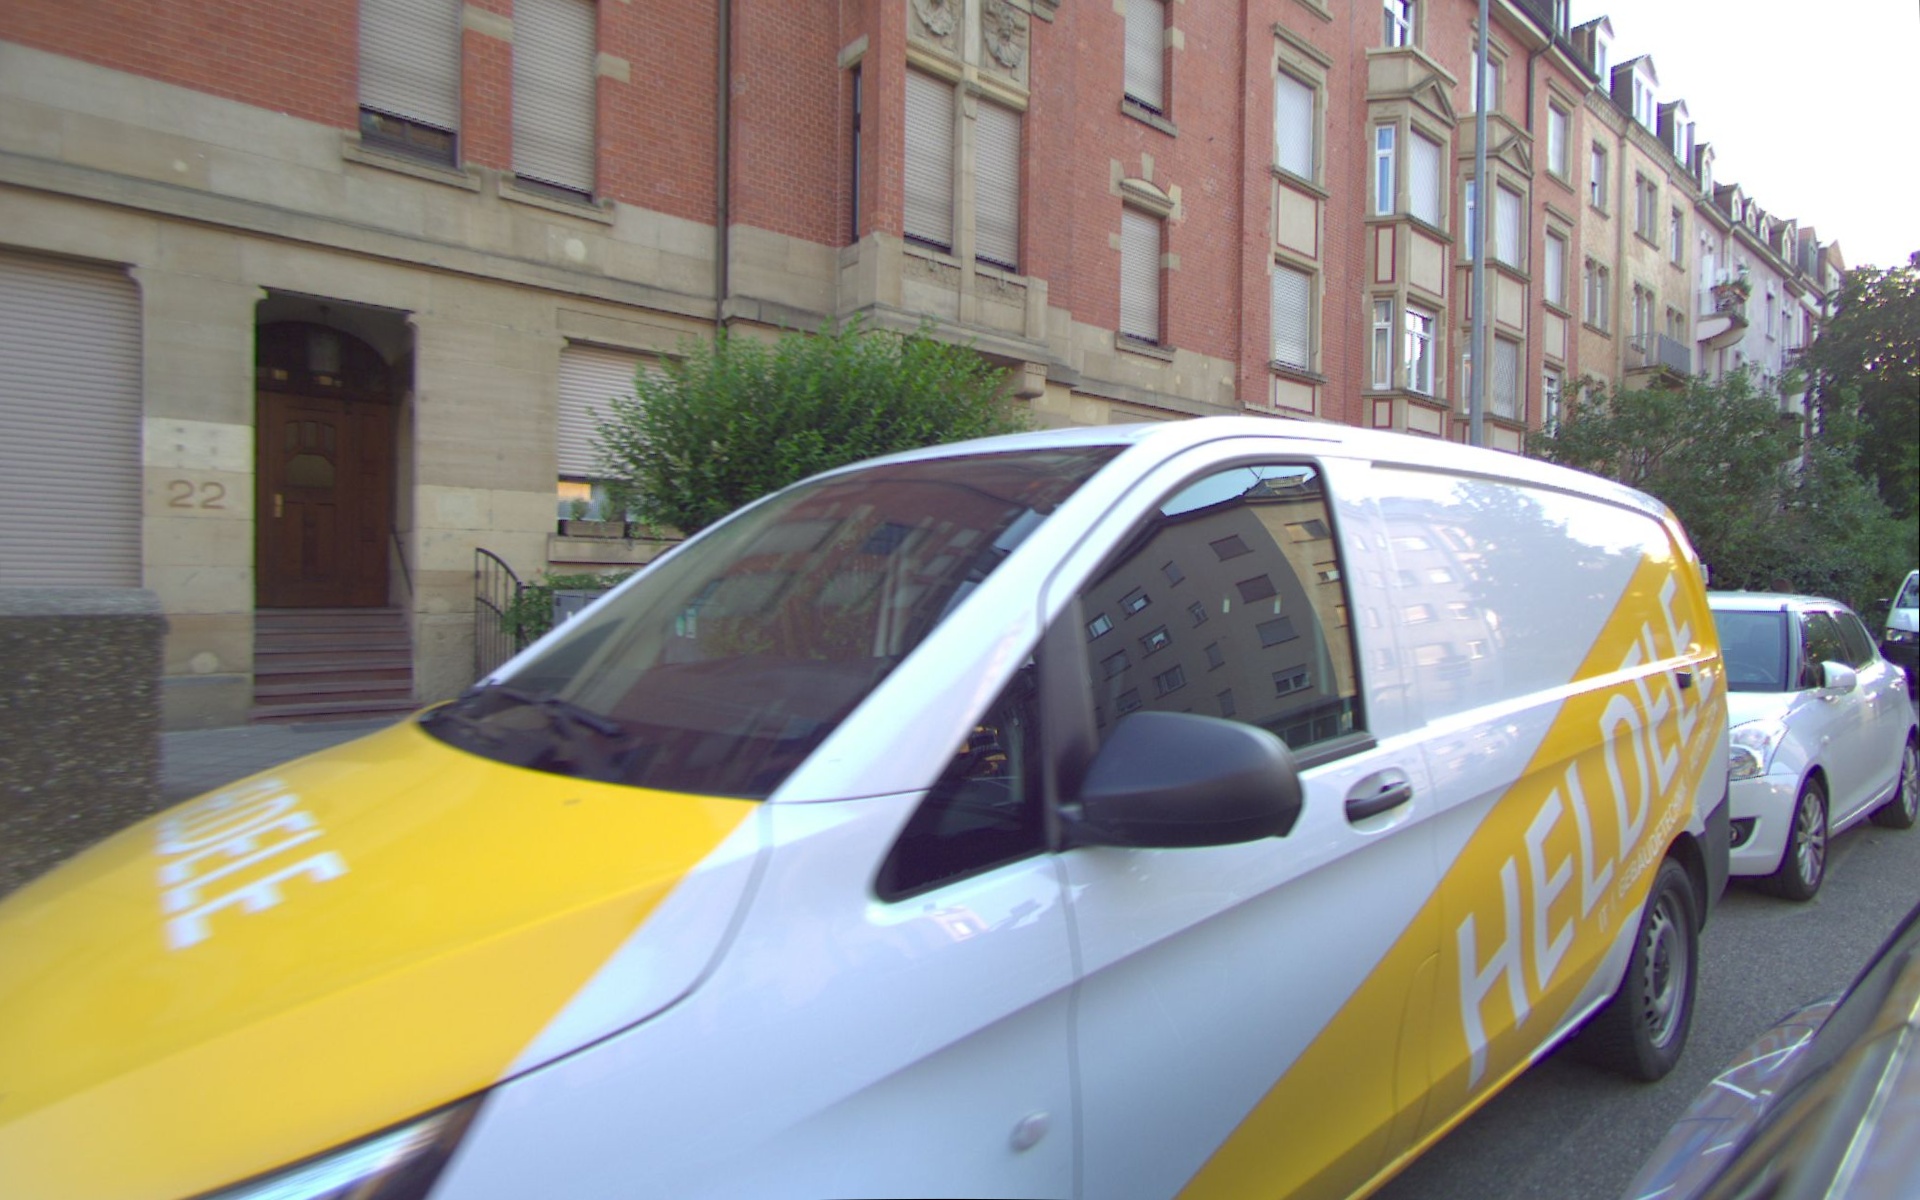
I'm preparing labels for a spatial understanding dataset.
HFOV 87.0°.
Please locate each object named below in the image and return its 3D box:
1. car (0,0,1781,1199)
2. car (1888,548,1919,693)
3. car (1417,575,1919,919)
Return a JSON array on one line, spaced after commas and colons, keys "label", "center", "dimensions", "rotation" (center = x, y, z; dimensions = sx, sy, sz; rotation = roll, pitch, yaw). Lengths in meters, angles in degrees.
[{"label": "car", "center": [0.448, 0.447, 2.763], "dimensions": [4.992, 1.907, 1.897], "rotation": [0, 1, -40]}, {"label": "car", "center": [16.142, 0.306, 15.729], "dimensions": [5.448, 2.064, 1.865], "rotation": [0, 3, -41]}, {"label": "car", "center": [4.598, 0.617, 6.214], "dimensions": [3.790, 1.495, 1.679], "rotation": [0, 1, -37]}]
